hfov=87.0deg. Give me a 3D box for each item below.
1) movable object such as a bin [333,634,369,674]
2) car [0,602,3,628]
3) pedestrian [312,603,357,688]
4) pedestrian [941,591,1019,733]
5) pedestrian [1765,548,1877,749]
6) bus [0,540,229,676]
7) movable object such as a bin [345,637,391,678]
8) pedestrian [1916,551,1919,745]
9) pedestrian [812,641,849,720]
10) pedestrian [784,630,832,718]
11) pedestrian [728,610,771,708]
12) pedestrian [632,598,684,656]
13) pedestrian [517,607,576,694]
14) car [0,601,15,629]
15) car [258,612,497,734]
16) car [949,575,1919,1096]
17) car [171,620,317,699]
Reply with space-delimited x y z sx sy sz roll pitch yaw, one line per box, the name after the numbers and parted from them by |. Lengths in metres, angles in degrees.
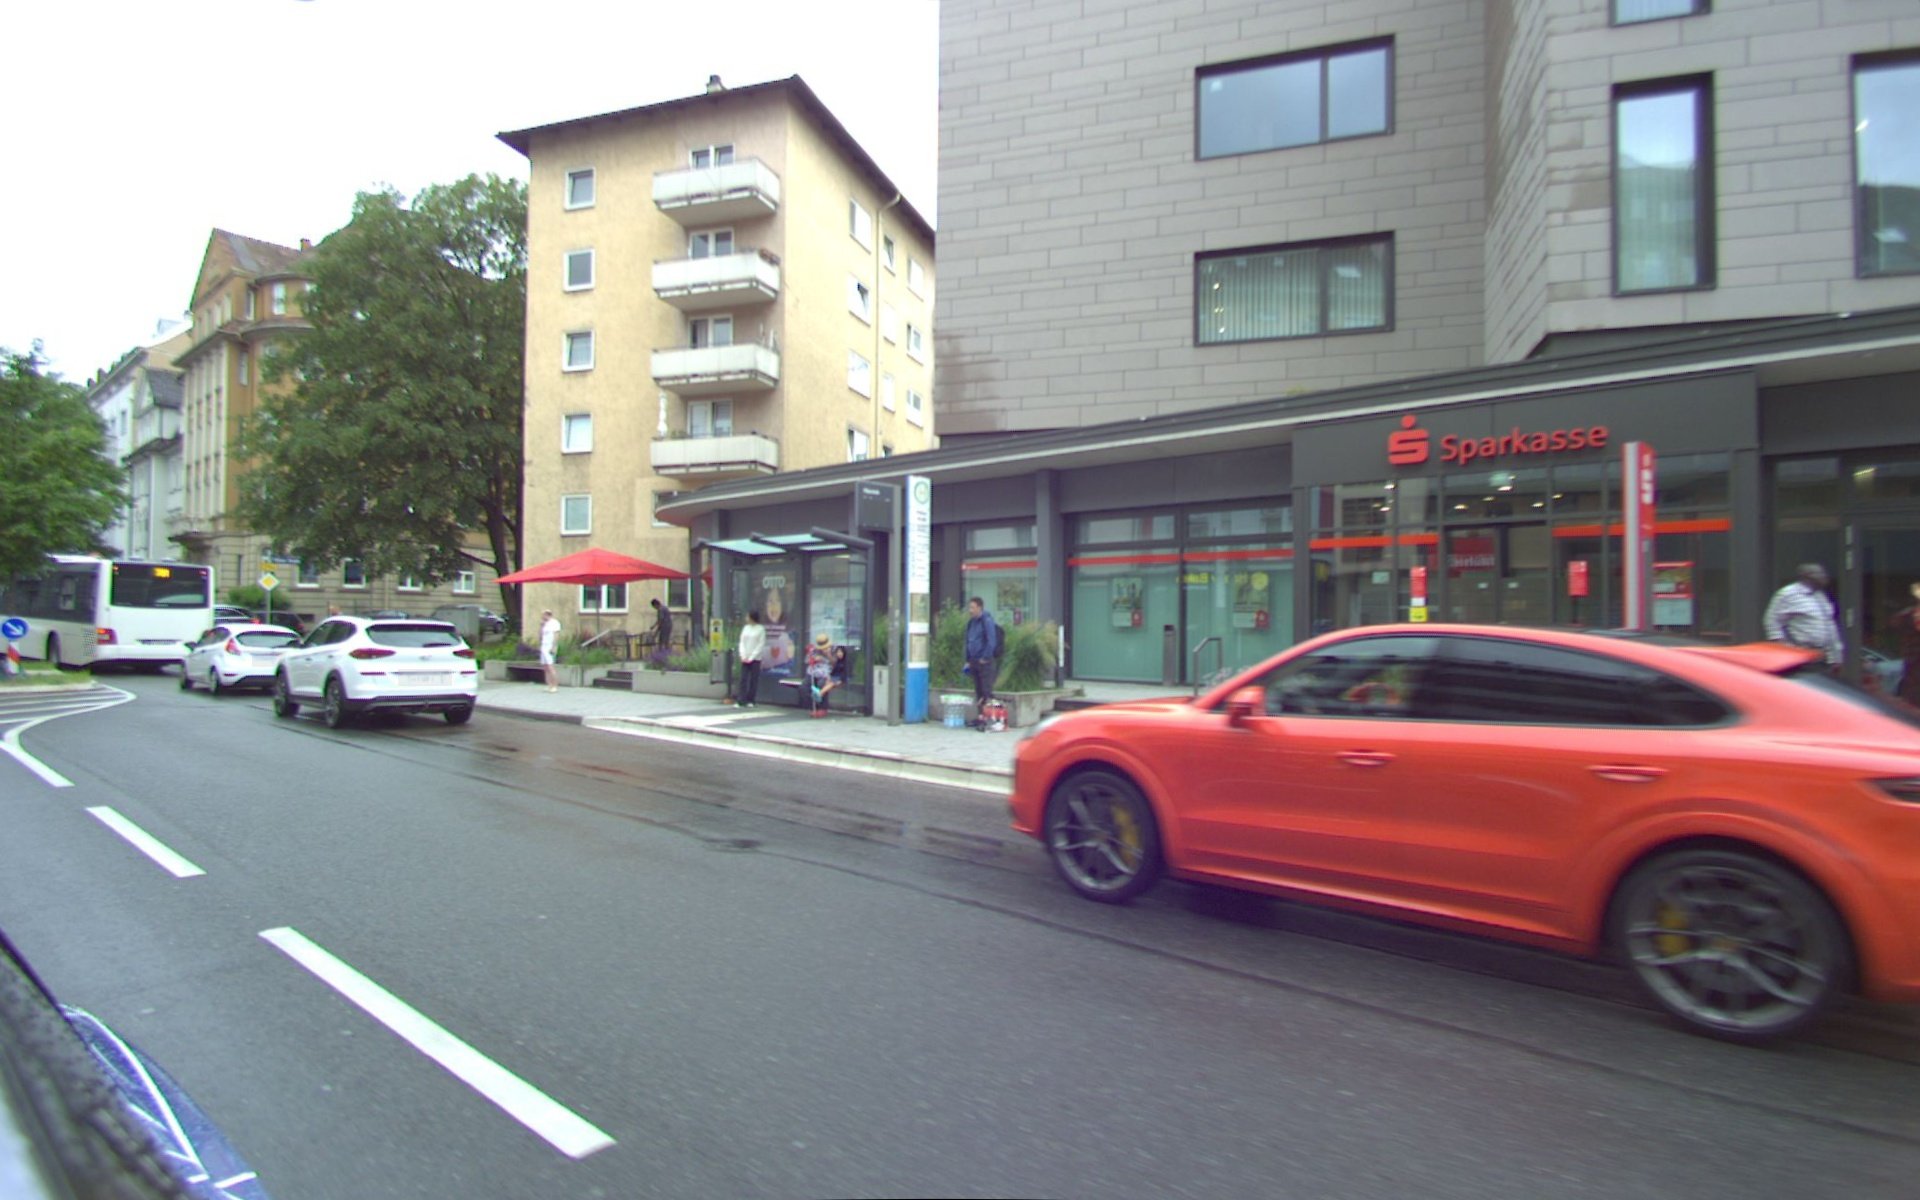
-17.174 1.513 28.539 0.579 1.066 0.732 0 -1 45 | movable object such as a bin
-59.480 0.910 61.409 3.391 1.527 1.651 0 1 40 | car
-15.335 1.102 24.815 0.782 2.029 0.695 0 -1 37 | pedestrian
0.271 0.804 13.502 0.868 1.833 0.584 -1 -1 33 | pedestrian
7.669 0.418 9.035 0.713 1.691 0.706 -1 -2 40 | pedestrian
-25.484 0.205 29.353 11.930 3.271 2.782 1 -5 34 | bus
-16.410 1.586 28.075 0.805 1.066 0.739 0 -1 16 | movable object such as a bin
8.836 0.415 8.591 0.701 1.691 0.803 0 -1 -21 | pedestrian
-1.916 1.182 14.977 0.386 1.125 0.387 -1 -2 41 | pedestrian
-2.292 1.097 15.278 0.549 1.287 0.463 -1 -2 41 | pedestrian
-3.432 0.950 16.496 0.533 1.561 0.433 -1 -2 40 | pedestrian
-8.694 0.770 29.151 0.934 1.624 1.146 -1 0 16 | pedestrian
-8.419 1.015 20.619 0.756 1.721 0.788 -1 0 16 | pedestrian
-55.501 0.846 57.904 3.694 1.527 1.651 0 1 40 | car
-9.030 1.034 15.561 4.123 1.585 1.875 0 -3 41 | car
2.534 0.848 5.525 5.057 1.778 2.084 0 -3 41 | car
-15.179 1.224 21.394 3.804 1.475 1.599 0 -4 41 | car
